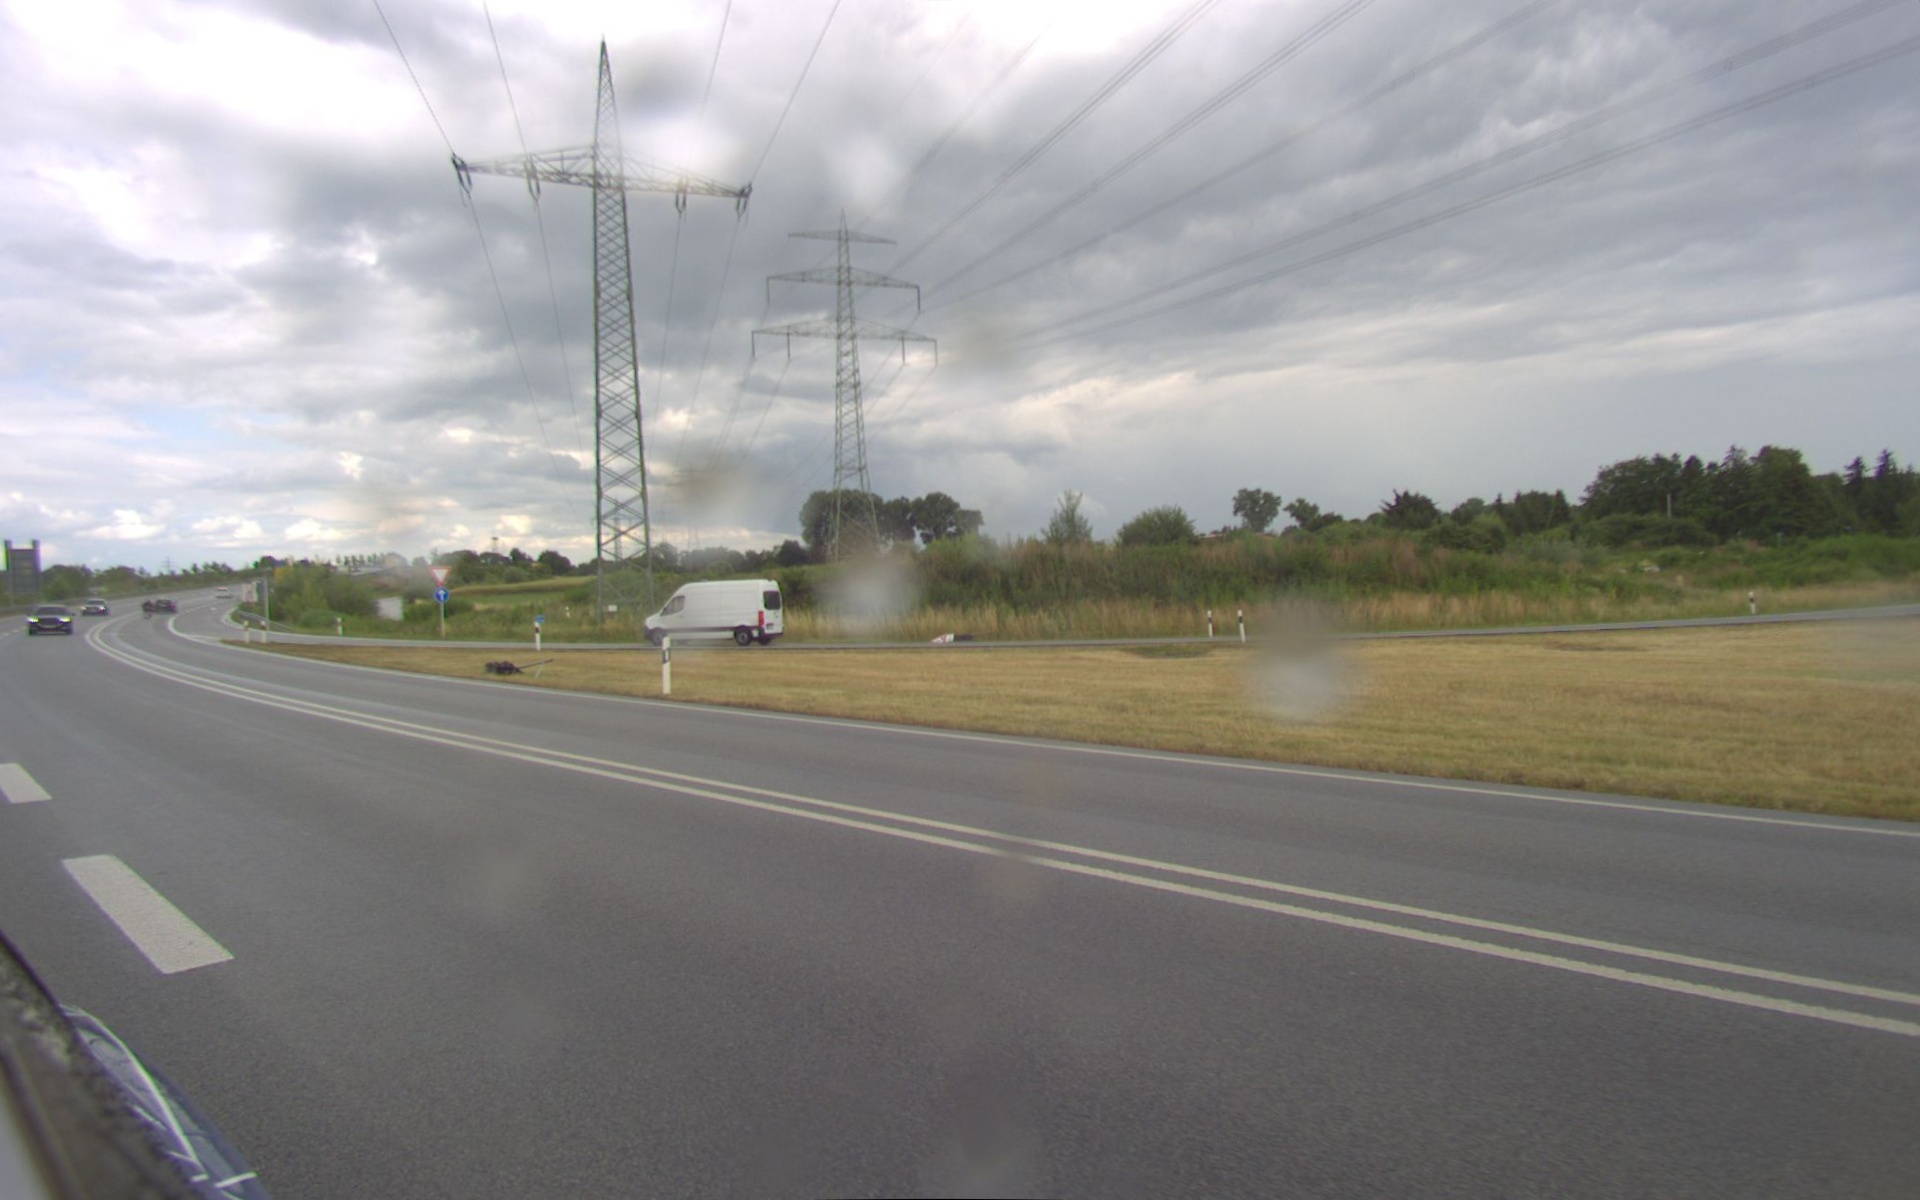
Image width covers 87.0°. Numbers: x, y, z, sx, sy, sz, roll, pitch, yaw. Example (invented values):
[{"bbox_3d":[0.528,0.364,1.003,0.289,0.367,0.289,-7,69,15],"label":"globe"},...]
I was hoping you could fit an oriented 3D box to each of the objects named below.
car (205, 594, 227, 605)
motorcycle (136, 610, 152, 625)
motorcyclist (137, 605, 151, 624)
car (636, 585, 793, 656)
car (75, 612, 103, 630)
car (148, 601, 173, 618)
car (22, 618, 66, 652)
[{"bbox_3d":[-107.822,-0.083,146.723,1.681,1.491,4.626,0,1,-26],"label":"car"},{"bbox_3d":[-67.552,1.455,83.778,0.791,1.247,2.191,-1,0,-33],"label":"motorcycle"},{"bbox_3d":[-67.554,1.162,83.787,0.791,1.547,0.827,-1,0,-34],"label":"motorcyclist"},{"bbox_3d":[-10.047,0.795,41.515,5.966,2.770,2.204,0,1,16],"label":"car"},{"bbox_3d":[-79.191,1.933,92.066,1.722,1.508,4.058,-2,1,-38],"label":"car"},{"bbox_3d":[-78.371,0.946,99.224,1.777,1.606,4.232,0,0,-40],"label":"car"},{"bbox_3d":[-51.418,1.924,56.866,1.769,1.782,4.006,0,0,-41],"label":"car"}]
